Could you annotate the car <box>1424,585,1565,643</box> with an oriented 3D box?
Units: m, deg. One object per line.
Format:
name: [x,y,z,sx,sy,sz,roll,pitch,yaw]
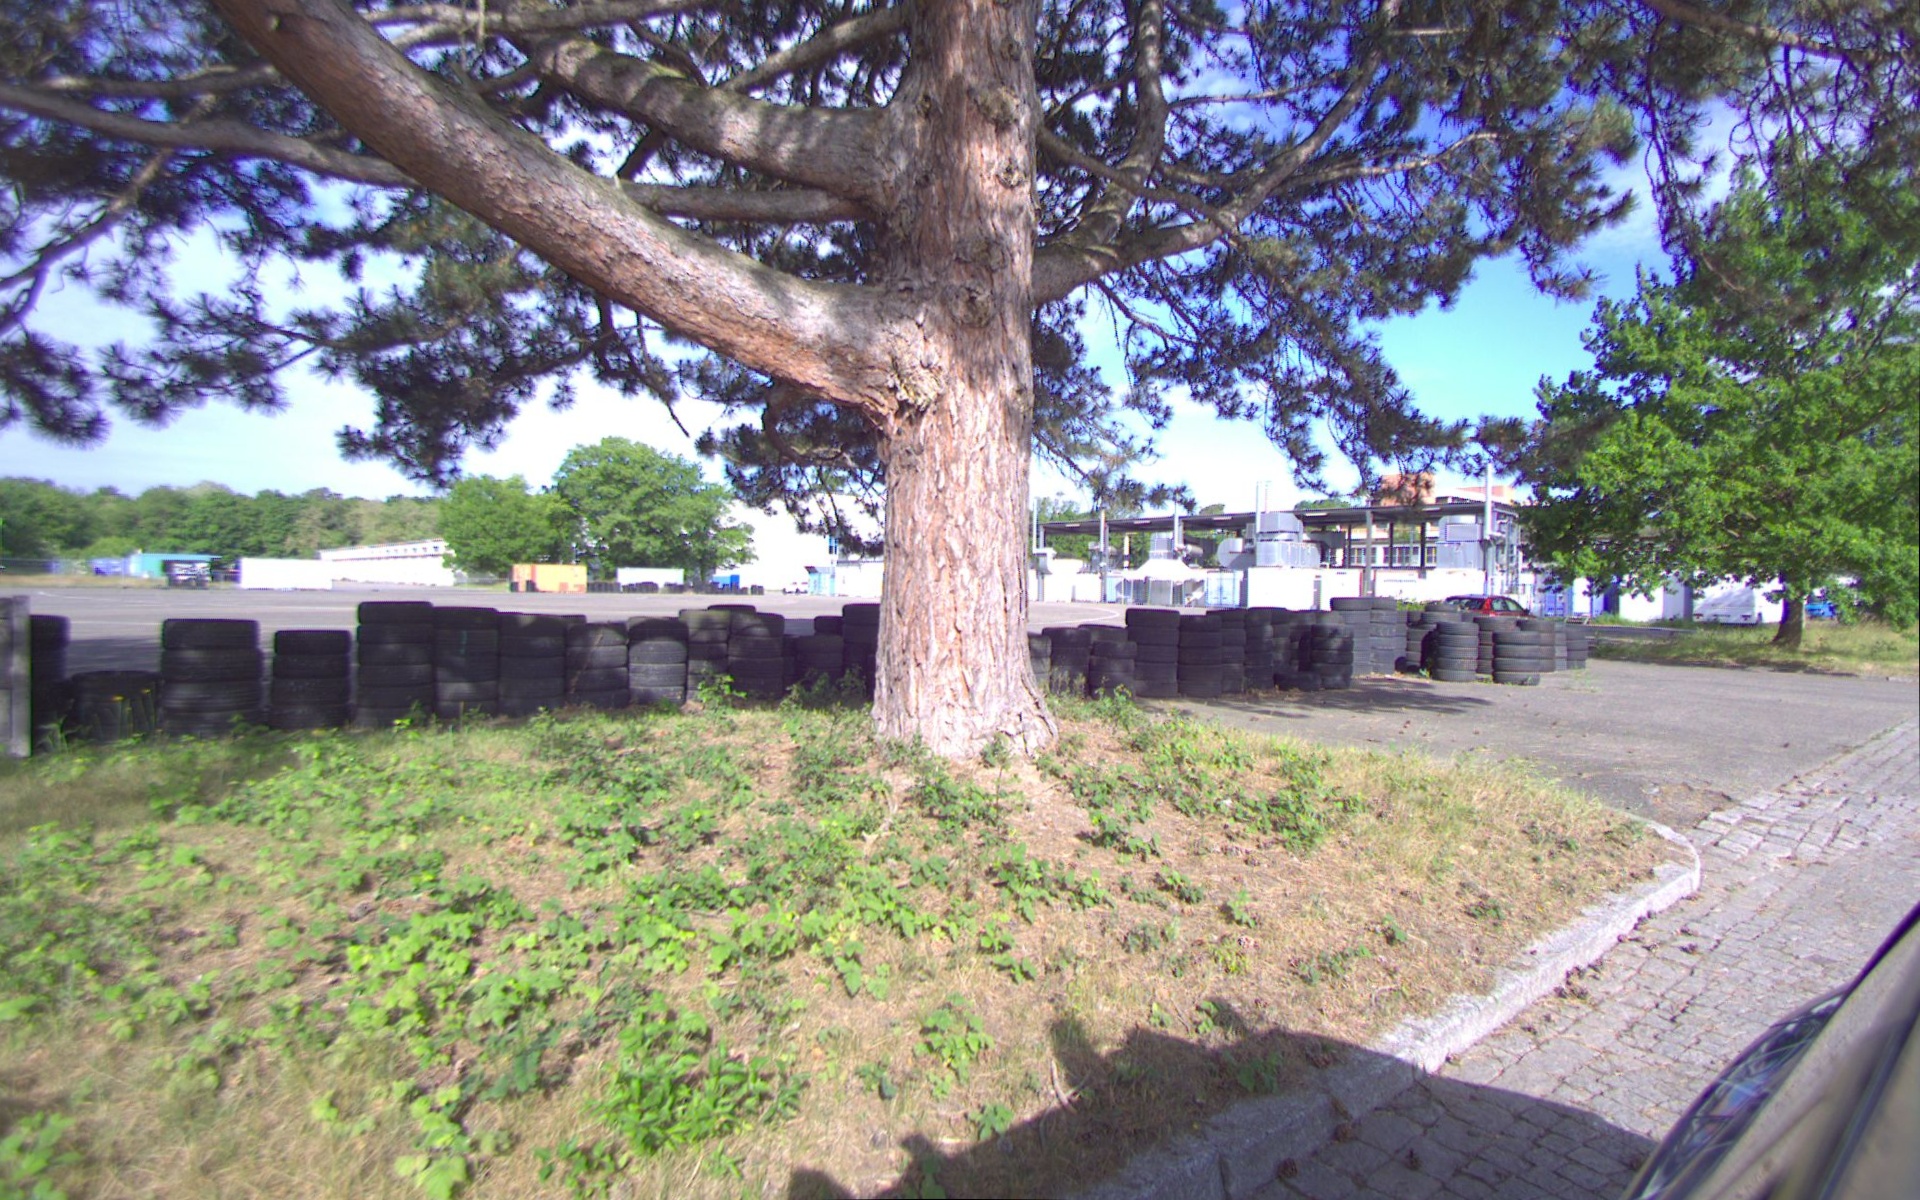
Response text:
car: [14.846,0.353,28.072,3.923,1.467,1.849,0,1,-34]
